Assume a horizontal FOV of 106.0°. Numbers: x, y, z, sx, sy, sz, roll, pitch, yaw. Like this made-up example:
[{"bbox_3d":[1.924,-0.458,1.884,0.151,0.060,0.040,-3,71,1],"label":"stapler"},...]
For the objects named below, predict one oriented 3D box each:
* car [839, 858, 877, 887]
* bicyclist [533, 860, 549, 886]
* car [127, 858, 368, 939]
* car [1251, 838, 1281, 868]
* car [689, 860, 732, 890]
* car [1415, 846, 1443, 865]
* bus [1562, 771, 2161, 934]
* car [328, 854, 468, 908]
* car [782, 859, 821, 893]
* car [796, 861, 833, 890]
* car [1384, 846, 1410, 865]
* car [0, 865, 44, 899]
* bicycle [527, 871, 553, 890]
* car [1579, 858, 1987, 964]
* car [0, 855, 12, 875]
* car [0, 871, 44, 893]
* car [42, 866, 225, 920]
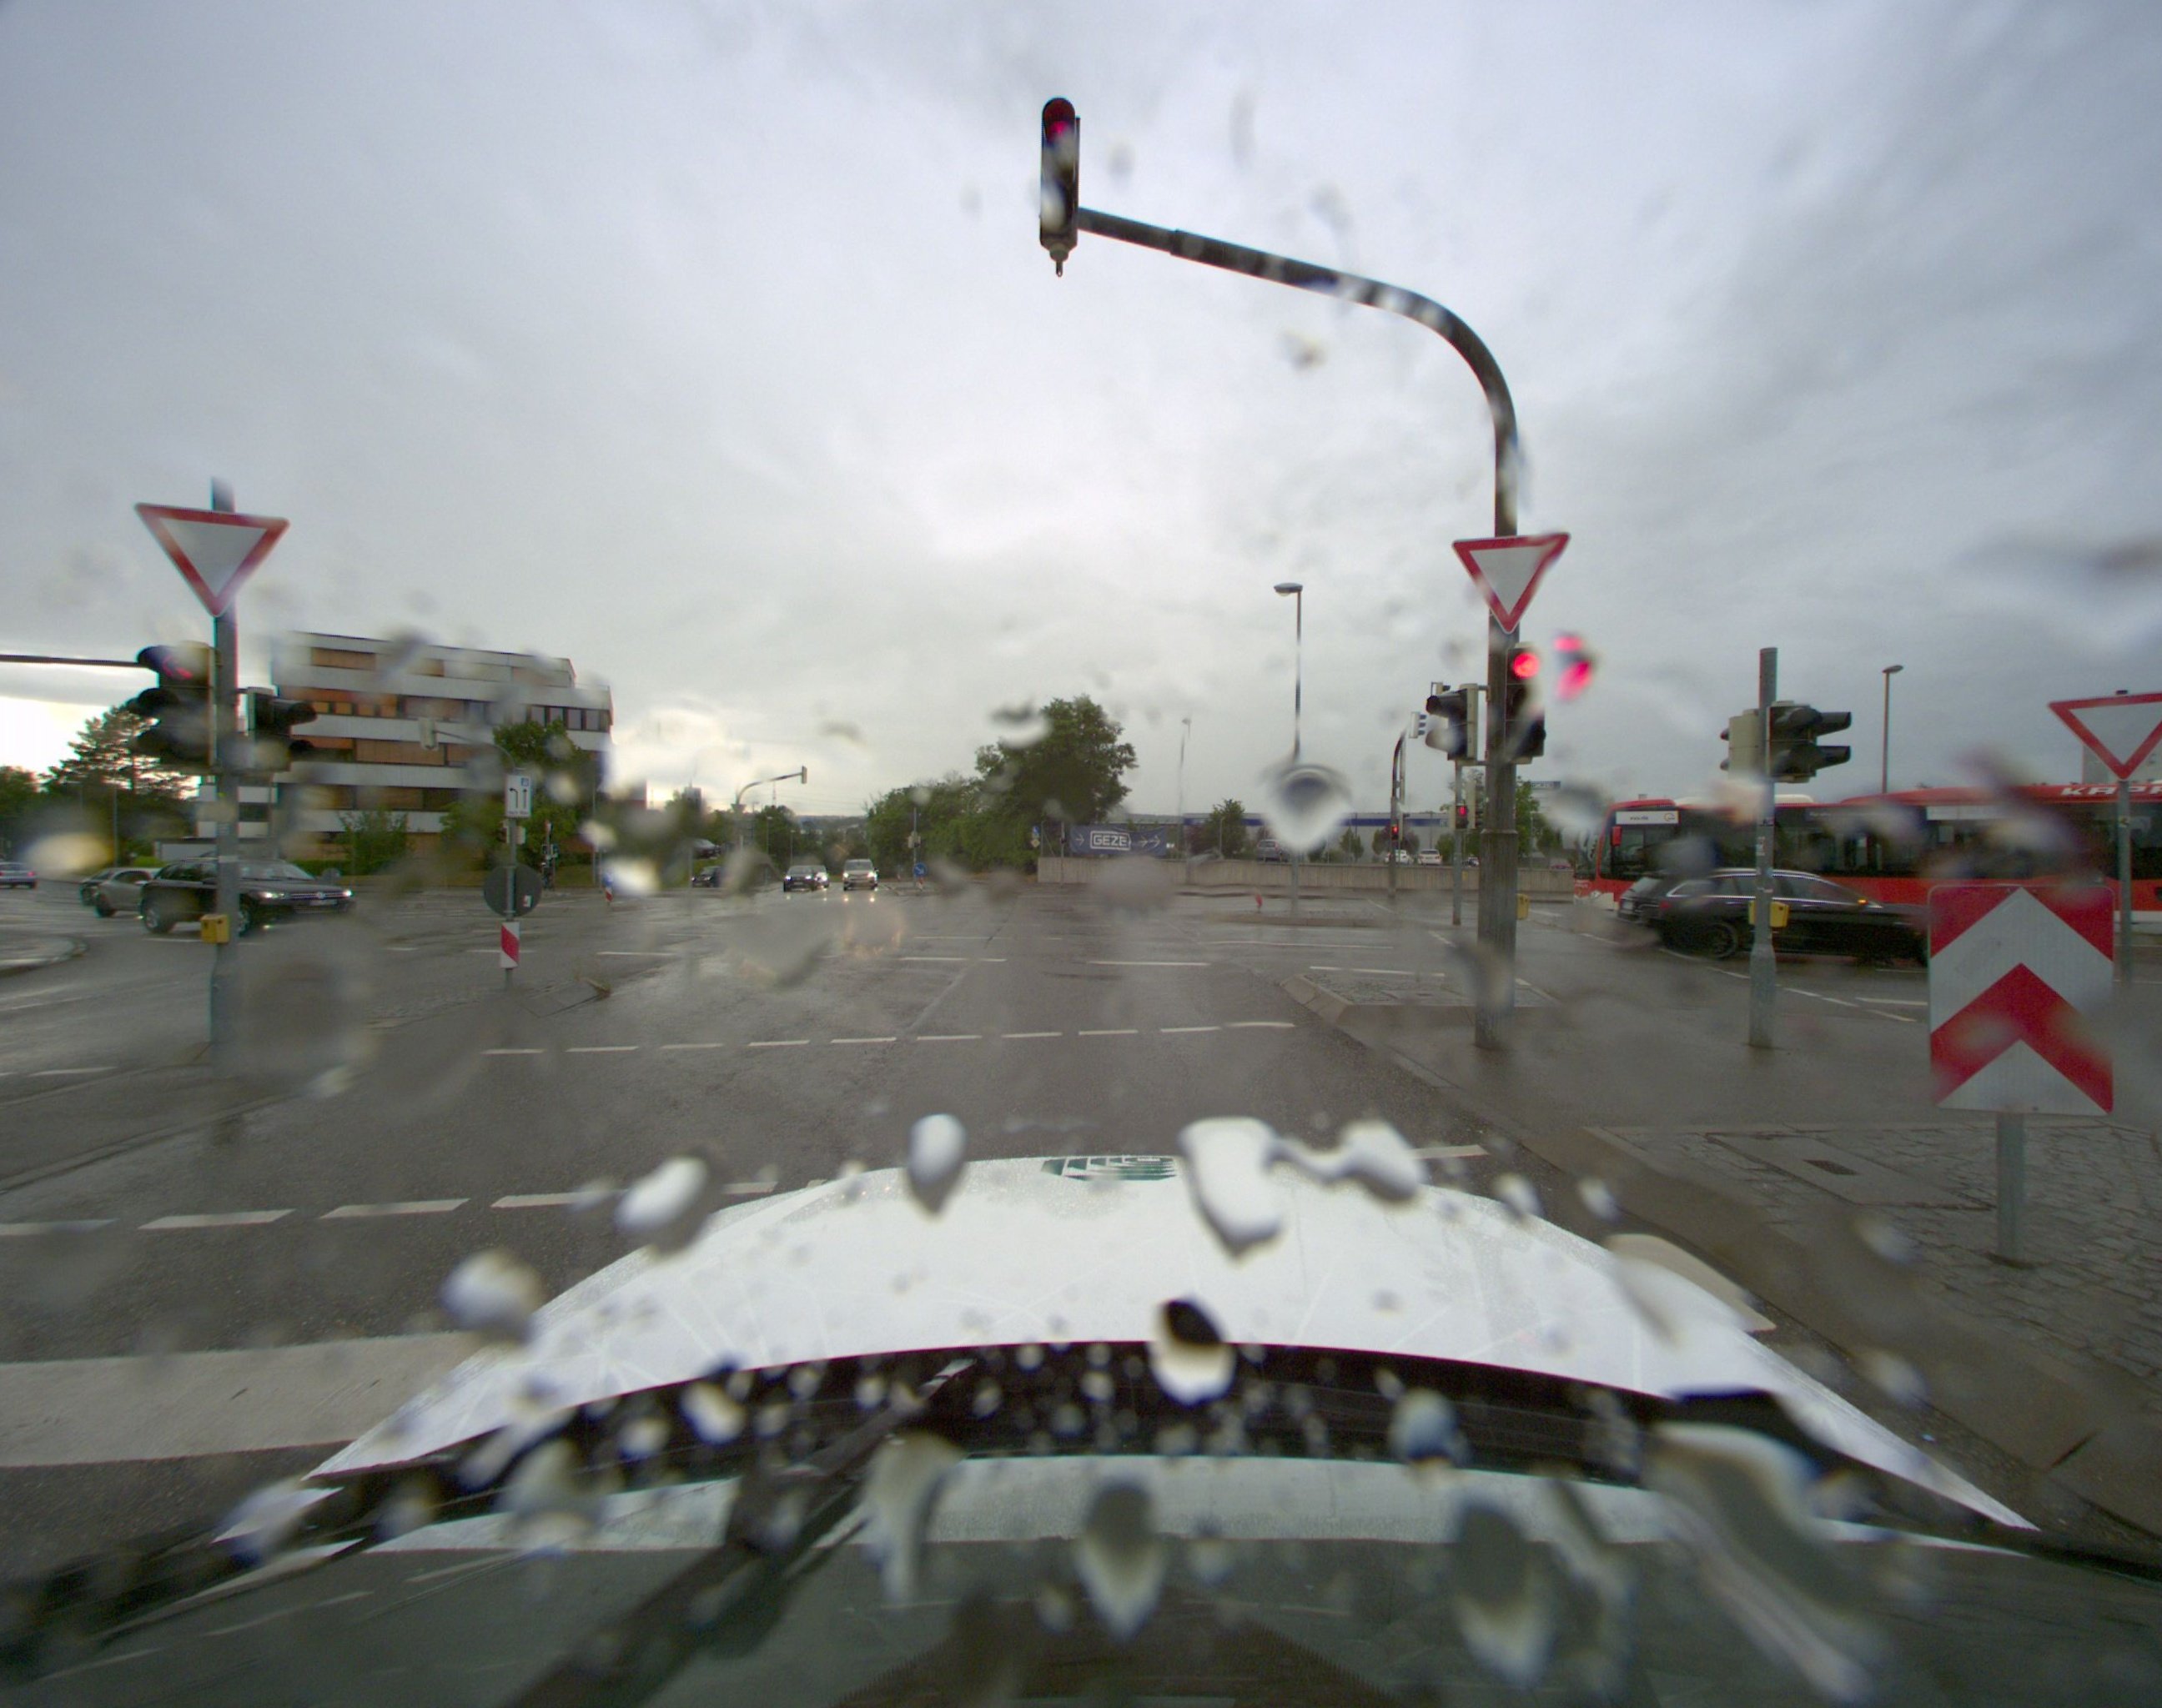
[{"bbox_3d":[-13.095,1.047,47.988,1.995,1.618,3.983,0,0,-13],"label":"car"},{"bbox_3d":[-30.760,1.086,46.394,0.538,1.446,0.607,0,0,34],"label":"bicyclist"},{"bbox_3d":[-19.494,0.957,19.090,4.561,1.702,2.009,0,0,16],"label":"car"},{"bbox_3d":[13.098,-0.074,57.552,1.979,2.013,4.015,0,0,13],"label":"car"},{"bbox_3d":[-25.024,1.412,55.101,1.997,1.895,3.979,0,0,-15],"label":"car"},{"bbox_3d":[28.690,0.107,67.173,1.976,1.478,4.021,0,0,21],"label":"car"},{"bbox_3d":[18.691,-0.121,19.282,12.177,3.321,3.090,1,0,19],"label":"bus"},{"bbox_3d":[-24.933,0.942,29.769,4.108,1.840,2.009,0,0,17],"label":"car"},{"bbox_3d":[-16.727,1.255,48.843,1.998,1.895,3.978,0,0,-16],"label":"car"},{"bbox_3d":[-18.271,1.424,55.990,1.996,1.895,3.982,0,0,-13],"label":"car"},{"bbox_3d":[26.384,0.098,67.853,1.976,1.478,4.021,0,0,22],"label":"car"},{"bbox_3d":[-61.186,1.559,46.413,3.950,1.794,1.830,0,0,27],"label":"car"},{"bbox_3d":[-30.898,1.518,46.482,1.757,1.052,0.614,0,0,33],"label":"bicycle"},{"bbox_3d":[10.991,0.823,13.227,4.623,1.476,2.009,0,0,17],"label":"car"},{"bbox_3d":[-87.668,0.898,65.361,3.948,1.596,1.969,0,0,33],"label":"car"},{"bbox_3d":[-60.863,1.583,46.426,3.471,1.105,1.832,0,0,33],"label":"car"},{"bbox_3d":[-27.696,1.092,23.840,4.107,1.416,1.936,0,0,16],"label":"car"}]
